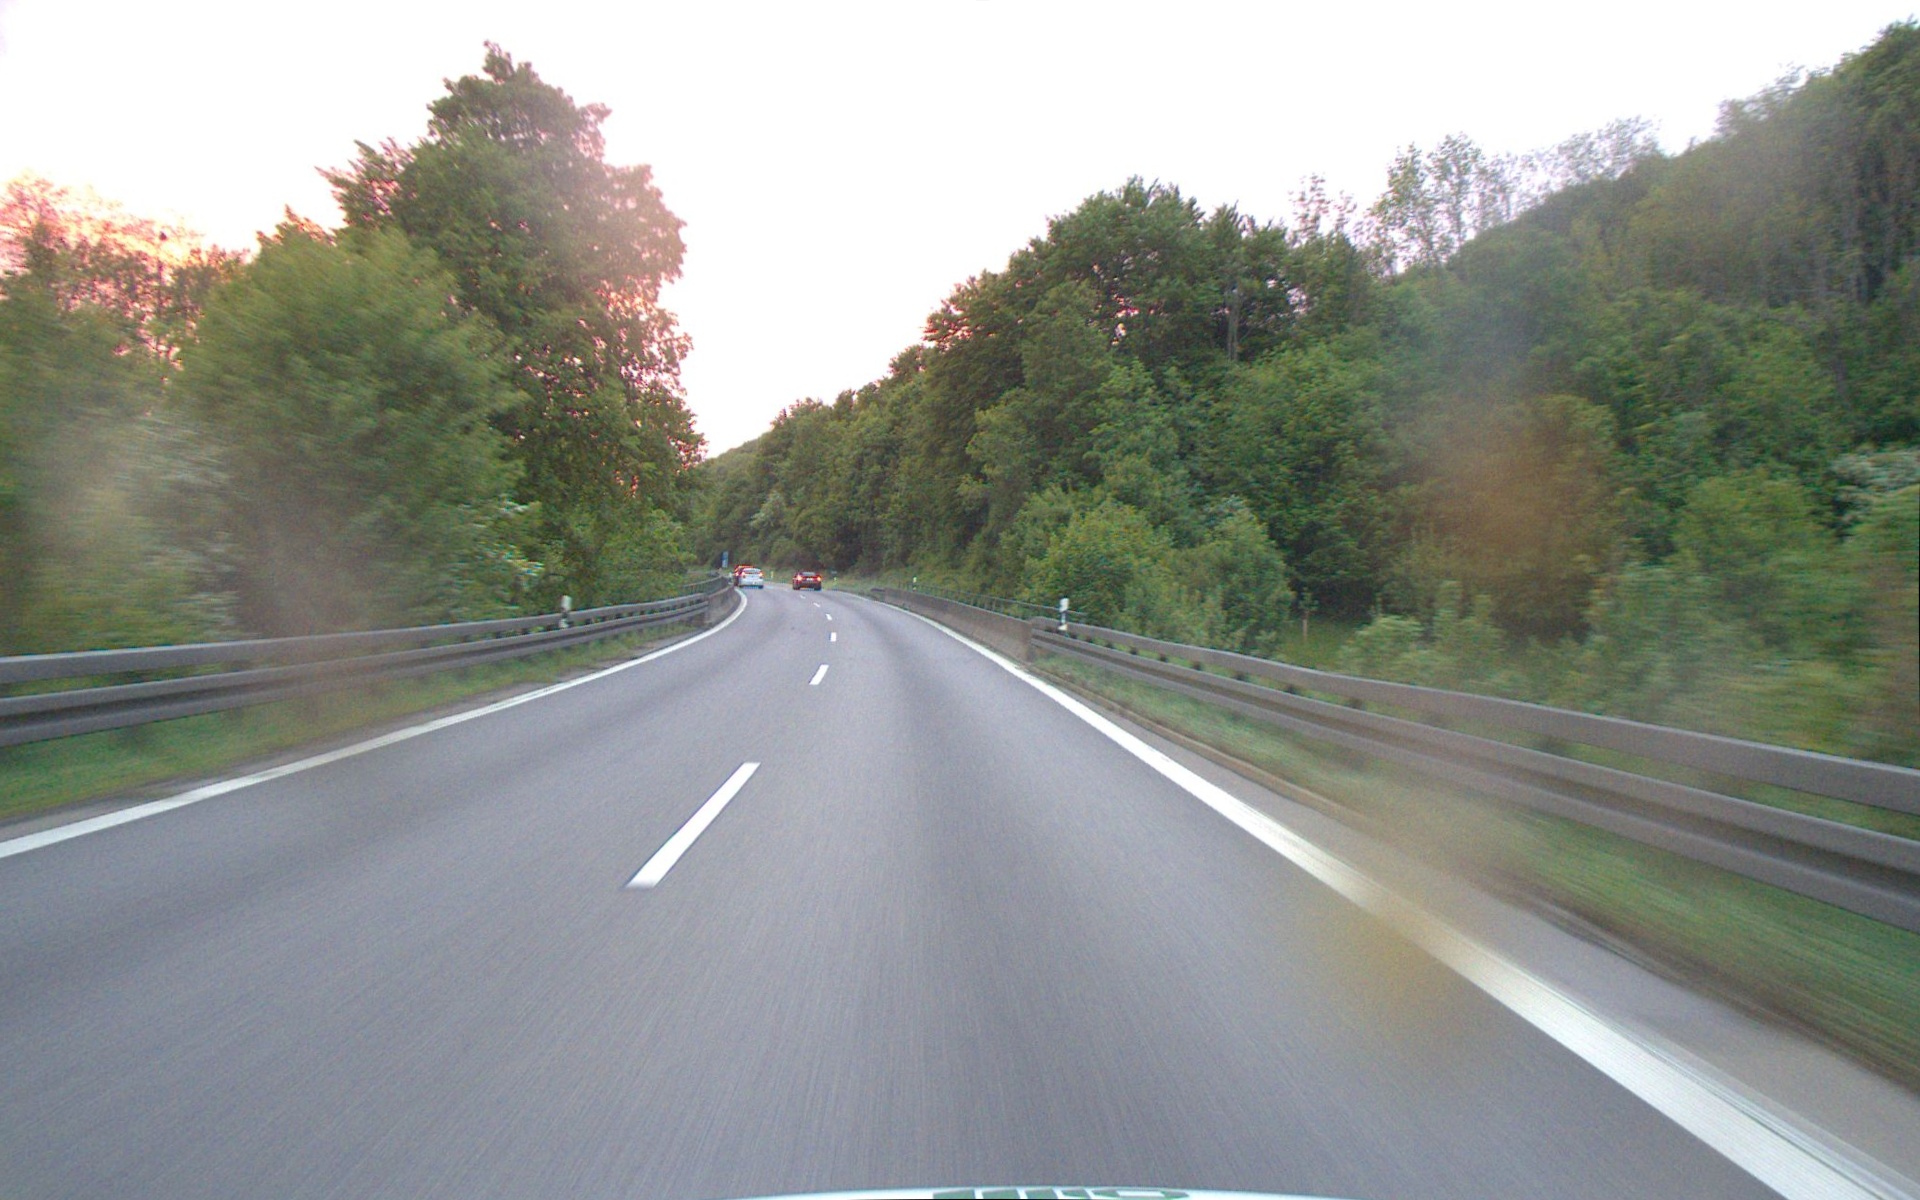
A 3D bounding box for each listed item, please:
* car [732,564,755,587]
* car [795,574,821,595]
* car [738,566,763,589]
[{"bbox_3d":[-17.638,-1.989,134.536,1.686,1.663,3.992,-3,-1,-8],"label":"car"},{"bbox_3d":[-11.311,-1.156,123.013,1.841,1.492,3.996,2,0,-5],"label":"car"},{"bbox_3d":[-15.898,-1.694,125.576,1.685,1.528,3.995,2,-1,-5],"label":"car"}]
